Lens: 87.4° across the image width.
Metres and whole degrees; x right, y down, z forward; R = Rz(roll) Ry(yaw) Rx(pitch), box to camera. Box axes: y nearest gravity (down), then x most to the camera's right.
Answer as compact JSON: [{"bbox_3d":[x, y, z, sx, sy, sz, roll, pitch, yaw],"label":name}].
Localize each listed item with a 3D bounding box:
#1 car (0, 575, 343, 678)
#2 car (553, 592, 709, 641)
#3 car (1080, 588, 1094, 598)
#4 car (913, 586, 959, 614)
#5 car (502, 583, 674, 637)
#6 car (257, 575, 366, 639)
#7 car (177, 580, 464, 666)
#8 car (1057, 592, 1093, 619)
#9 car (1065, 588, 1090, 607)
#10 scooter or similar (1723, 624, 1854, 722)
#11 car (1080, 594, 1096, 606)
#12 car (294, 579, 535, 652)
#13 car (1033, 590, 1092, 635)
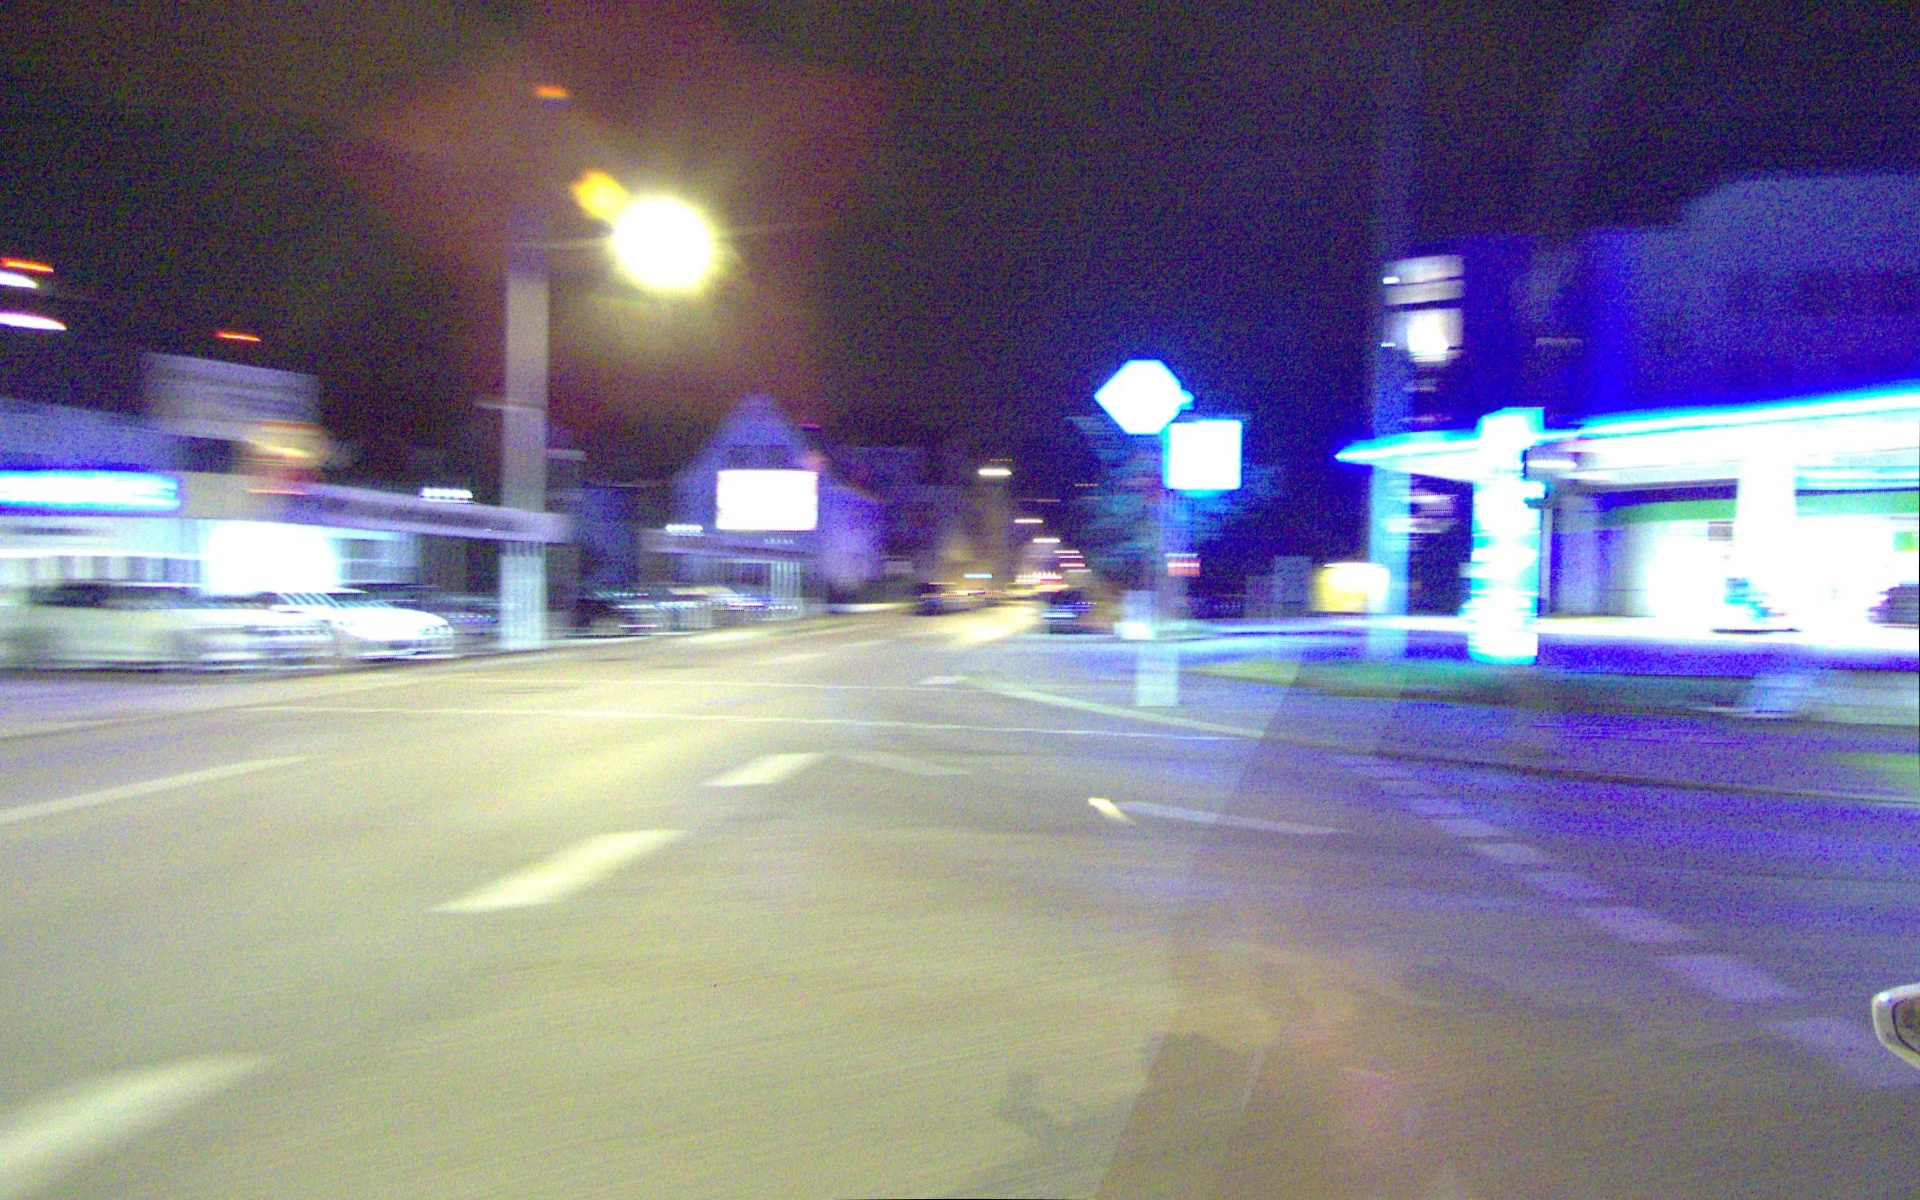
[{"bbox_3d":[-12.787,0.396,16.354,4.363,1.469,2.001,1,0,8],"label":"car"},{"bbox_3d":[-10.689,0.526,32.770,4.363,1.469,2.001,1,0,8],"label":"car"},{"bbox_3d":[19.789,-1.047,156.264,1.959,1.540,4.002,1,0,9],"label":"car"},{"bbox_3d":[-1.340,-0.004,57.745,1.959,1.522,4.002,1,0,8],"label":"car"},{"bbox_3d":[-11.029,0.296,29.928,4.363,1.469,2.001,1,0,8],"label":"car"},{"bbox_3d":[-19.674,0.221,30.662,1.970,1.799,3.980,1,0,-21],"label":"car"},{"bbox_3d":[-12.235,0.423,19.393,4.363,1.469,2.001,1,0,7],"label":"car"},{"bbox_3d":[7.098,0.354,61.717,1.959,1.540,4.002,1,0,9],"label":"car"},{"bbox_3d":[10.037,-0.177,85.637,1.959,1.540,4.002,1,0,9],"label":"car"},{"bbox_3d":[10.320,0.873,12.507,1.660,1.106,0.711,0,1,-30],"label":"scooter or similar"},{"bbox_3d":[17.026,0.062,133.550,1.959,1.540,4.002,1,0,9],"label":"car"},{"bbox_3d":[-12.091,0.325,22.412,4.363,1.469,2.001,1,0,8],"label":"car"},{"bbox_3d":[3.955,0.436,38.265,1.959,1.536,4.002,2,1,9],"label":"car"}]
